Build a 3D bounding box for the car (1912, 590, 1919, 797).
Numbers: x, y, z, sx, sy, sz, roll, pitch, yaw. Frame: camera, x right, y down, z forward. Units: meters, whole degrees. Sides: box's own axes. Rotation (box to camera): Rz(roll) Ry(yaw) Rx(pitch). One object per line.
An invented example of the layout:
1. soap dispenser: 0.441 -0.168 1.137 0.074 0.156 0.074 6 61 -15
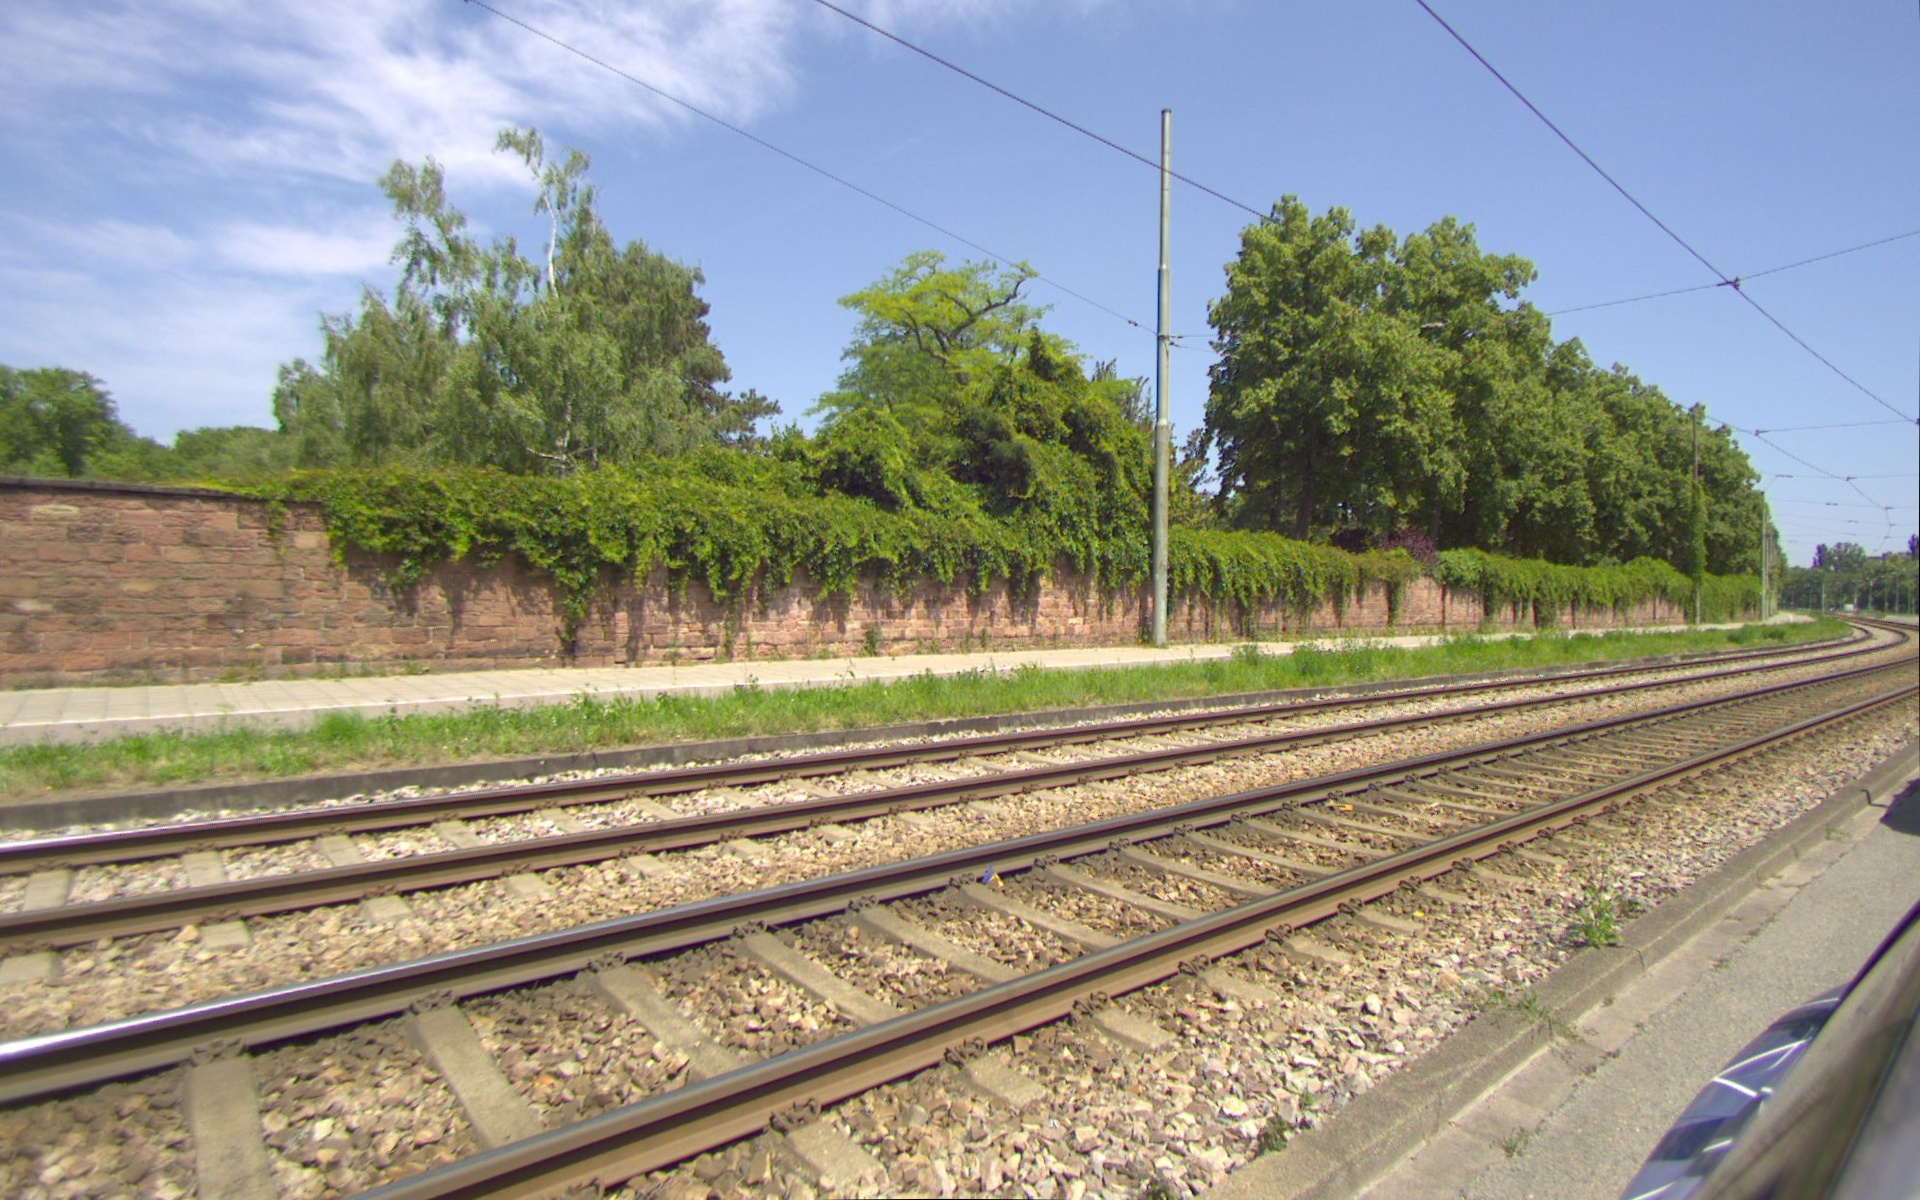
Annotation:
1. car: 8.164 0.714 6.753 3.927 1.563 2.062 1 -2 -38
